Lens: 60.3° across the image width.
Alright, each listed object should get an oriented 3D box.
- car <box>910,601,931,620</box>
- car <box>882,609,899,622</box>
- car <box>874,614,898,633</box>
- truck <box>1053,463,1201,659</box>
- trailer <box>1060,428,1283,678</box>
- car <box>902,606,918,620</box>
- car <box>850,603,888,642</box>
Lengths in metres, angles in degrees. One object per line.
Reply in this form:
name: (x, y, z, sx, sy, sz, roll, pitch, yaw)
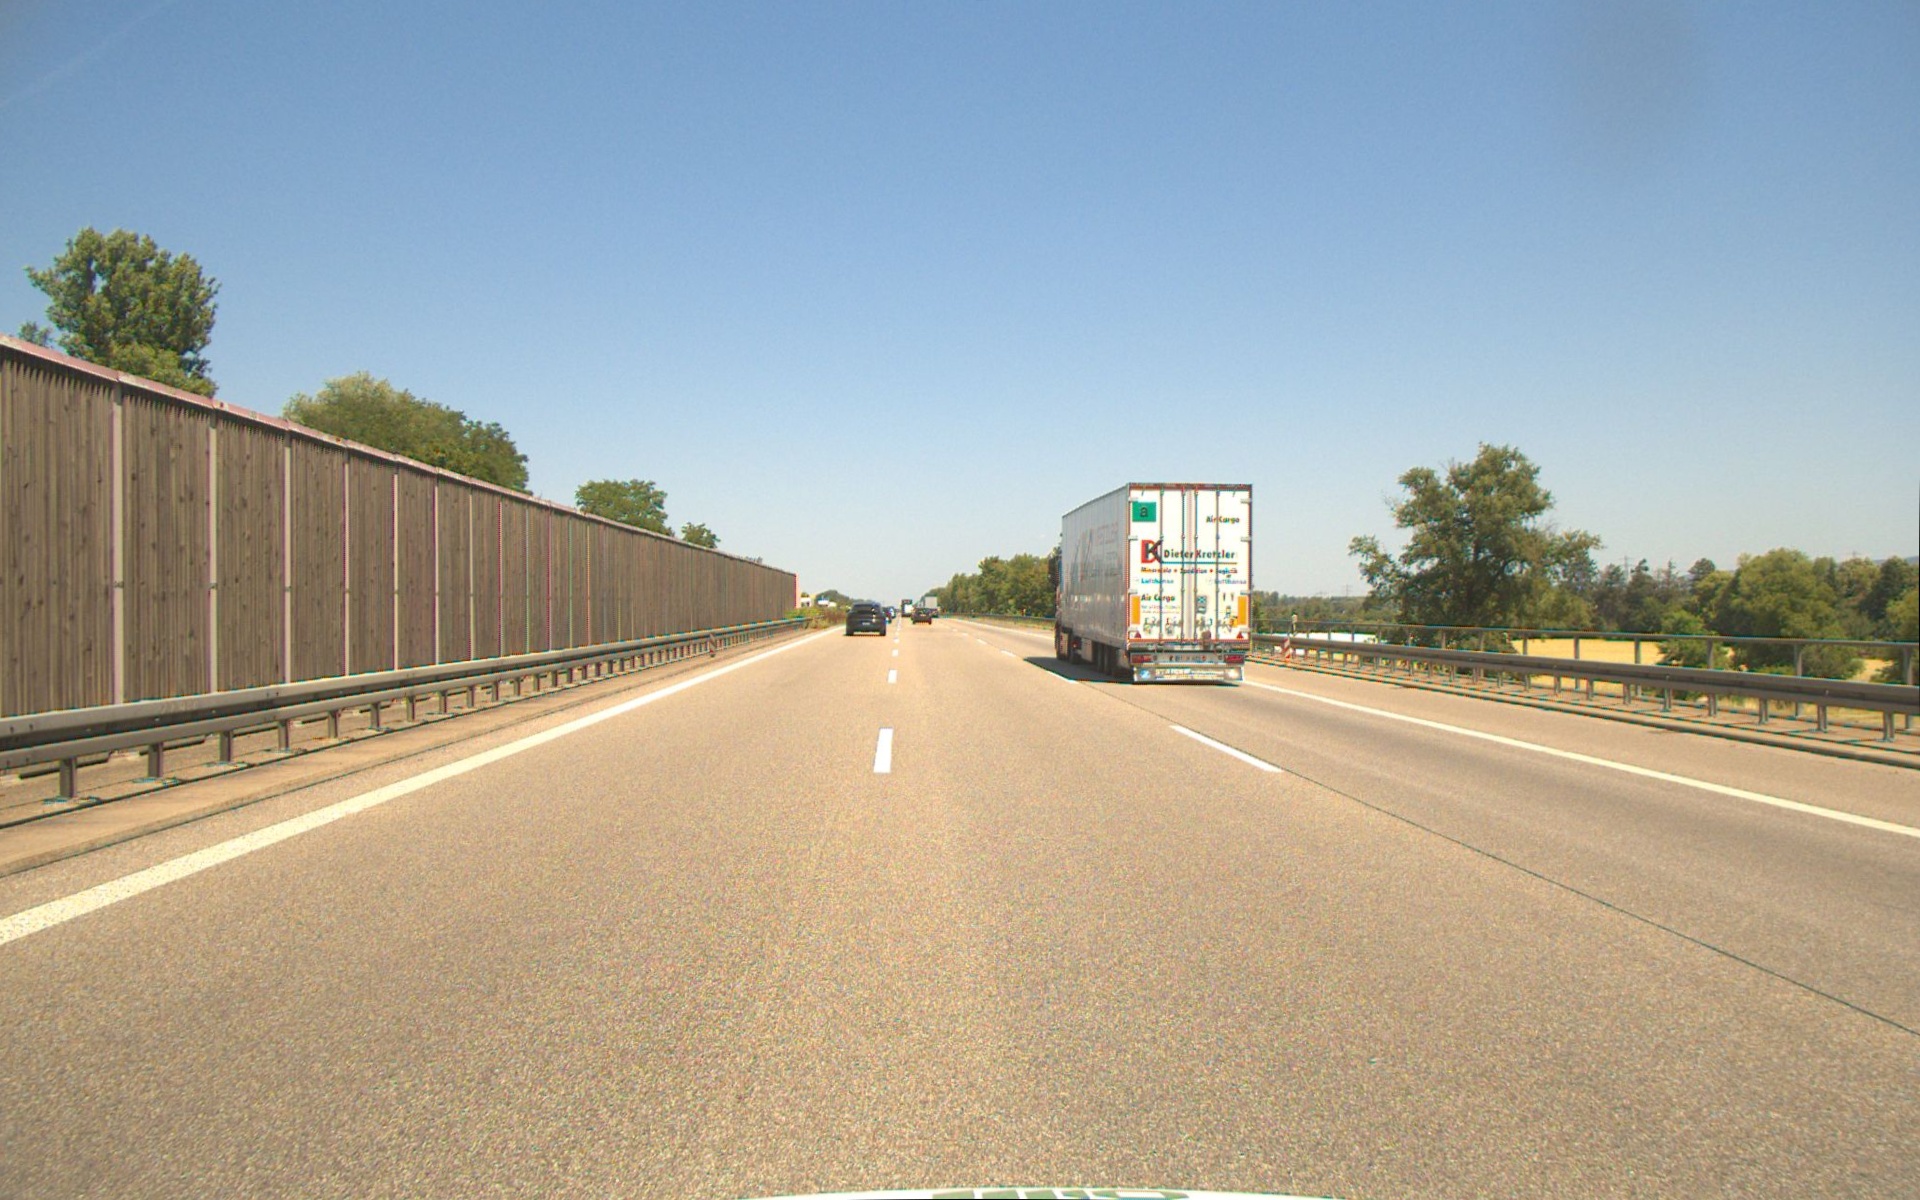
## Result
car: (-3.469, 0.943, 145.036, 1.864, 1.612, 4.302, 0, -1, -2)
car: (-9.054, 1.990, 214.925, 2.086, 1.674, 4.302, 0, -1, -2)
car: (-6.696, 2.111, 149.605, 2.086, 1.674, 4.302, 0, -1, -2)
truck: (4.471, -0.998, 45.871, 3.169, 4.974, 6.969, 1, 0, -2)
trailer: (4.635, -0.952, 39.929, 3.203, 4.922, 14.024, 1, 0, -1)
car: (-5.876, 1.562, 193.524, 1.864, 1.612, 4.302, 0, -1, -2)
car: (-4.536, 1.104, 82.563, 1.843, 1.823, 3.997, 0, 0, -3)
